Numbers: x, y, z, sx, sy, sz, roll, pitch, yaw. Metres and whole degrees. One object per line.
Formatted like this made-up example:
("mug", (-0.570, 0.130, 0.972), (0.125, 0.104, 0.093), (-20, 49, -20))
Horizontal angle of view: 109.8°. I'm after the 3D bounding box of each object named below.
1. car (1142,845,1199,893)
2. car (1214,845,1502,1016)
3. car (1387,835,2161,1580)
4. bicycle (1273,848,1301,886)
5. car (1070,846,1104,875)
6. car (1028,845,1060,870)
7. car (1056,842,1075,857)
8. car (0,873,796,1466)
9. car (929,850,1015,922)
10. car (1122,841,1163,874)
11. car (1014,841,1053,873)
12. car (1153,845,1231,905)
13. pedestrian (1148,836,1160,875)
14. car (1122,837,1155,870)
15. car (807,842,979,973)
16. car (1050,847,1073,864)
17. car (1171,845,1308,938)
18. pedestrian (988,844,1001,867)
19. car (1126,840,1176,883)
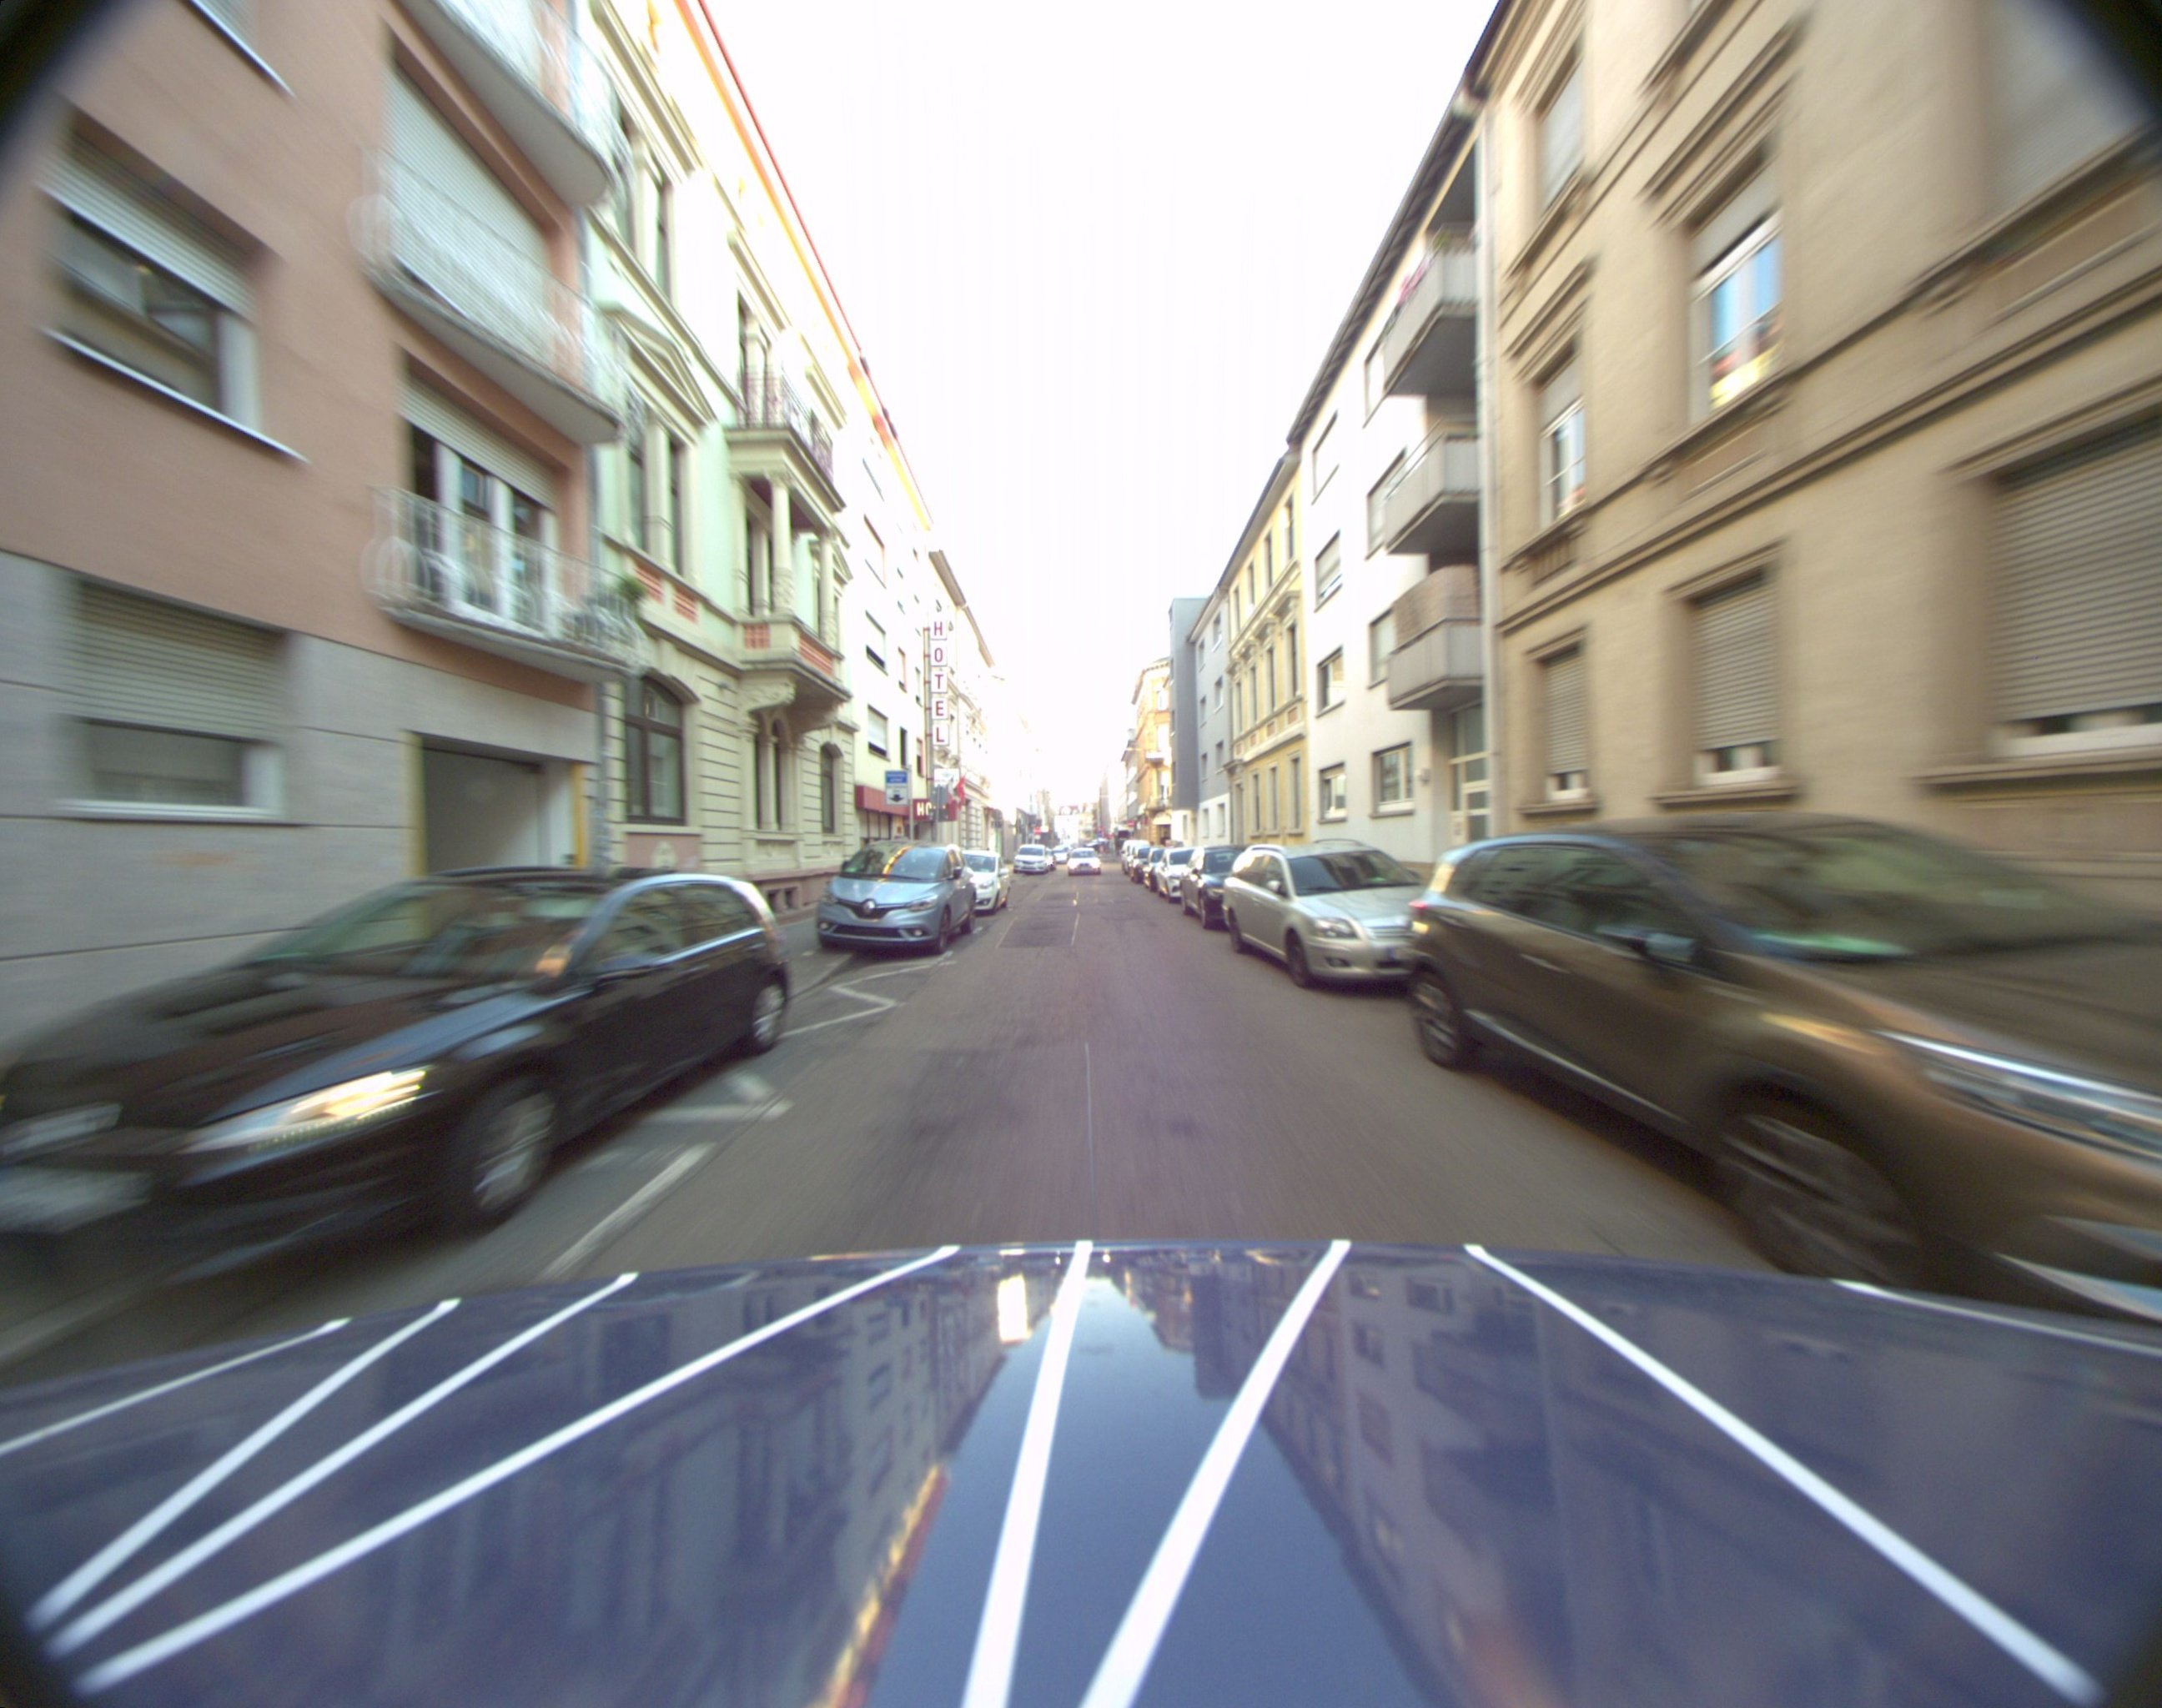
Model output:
("car", (3.051, 0.458, 26.624), (1.642, 1.481, 3.954), (-1, 1, 2))
("car", (2.971, 0.689, 9.290), (1.795, 1.530, 4.433), (-2, 1, -1))
("car", (3.156, 0.725, 3.451), (1.795, 1.567, 4.069), (-2, 1, -1))
("bicycle", (5.802, 0.349, 21.421), (0.292, 1.003, 1.543), (-2, 1, -3))
("car", (0.327, 0.312, 41.079), (1.681, 1.395, 4.470), (-3, 1, 1))
("car", (-2.354, 0.220, 49.521), (1.729, 1.470, 3.975), (-2, 1, 1))
("car", (-1.542, -0.461, 77.012), (1.729, 1.391, 3.892), (-1, 1, 1))
("car", (-3.207, 0.933, 4.139), (1.694, 1.450, 4.131), (-2, 1, 0))
("car", (-2.624, 0.712, 18.975), (1.574, 1.570, 3.589), (-2, 1, 0))
("car", (3.115, 0.127, 39.225), (1.642, 1.571, 3.782), (-2, 1, -2))
("car", (-2.713, 0.124, 44.337), (1.841, 1.685, 4.358), (3, 1, 1))
("car", (3.054, 0.527, 21.578), (1.642, 1.481, 3.788), (-2, 1, 0))
("pedestrian", (3.367, 0.071, 34.858), (0.456, 1.745, 0.455), (-2, 1, -1))
("car", (3.292, -0.040, 44.232), (1.642, 1.786, 3.782), (-2, 1, 1))
("car", (-2.797, 0.689, 12.279), (1.694, 1.731, 4.108), (-2, 1, 0))
("car", (-1.693, 0.118, 66.881), (1.729, 1.391, 3.892), (-1, 1, 1))
("car", (2.982, 0.626, 15.271), (1.795, 1.530, 4.493), (-2, 1, 0))
("pedestrian", (-5.491, 0.102, 48.244), (0.696, 1.415, 0.483), (-1, 1, 1))
("car", (2.959, 0.279, 32.670), (1.642, 1.701, 3.782), (-2, 1, -2))
